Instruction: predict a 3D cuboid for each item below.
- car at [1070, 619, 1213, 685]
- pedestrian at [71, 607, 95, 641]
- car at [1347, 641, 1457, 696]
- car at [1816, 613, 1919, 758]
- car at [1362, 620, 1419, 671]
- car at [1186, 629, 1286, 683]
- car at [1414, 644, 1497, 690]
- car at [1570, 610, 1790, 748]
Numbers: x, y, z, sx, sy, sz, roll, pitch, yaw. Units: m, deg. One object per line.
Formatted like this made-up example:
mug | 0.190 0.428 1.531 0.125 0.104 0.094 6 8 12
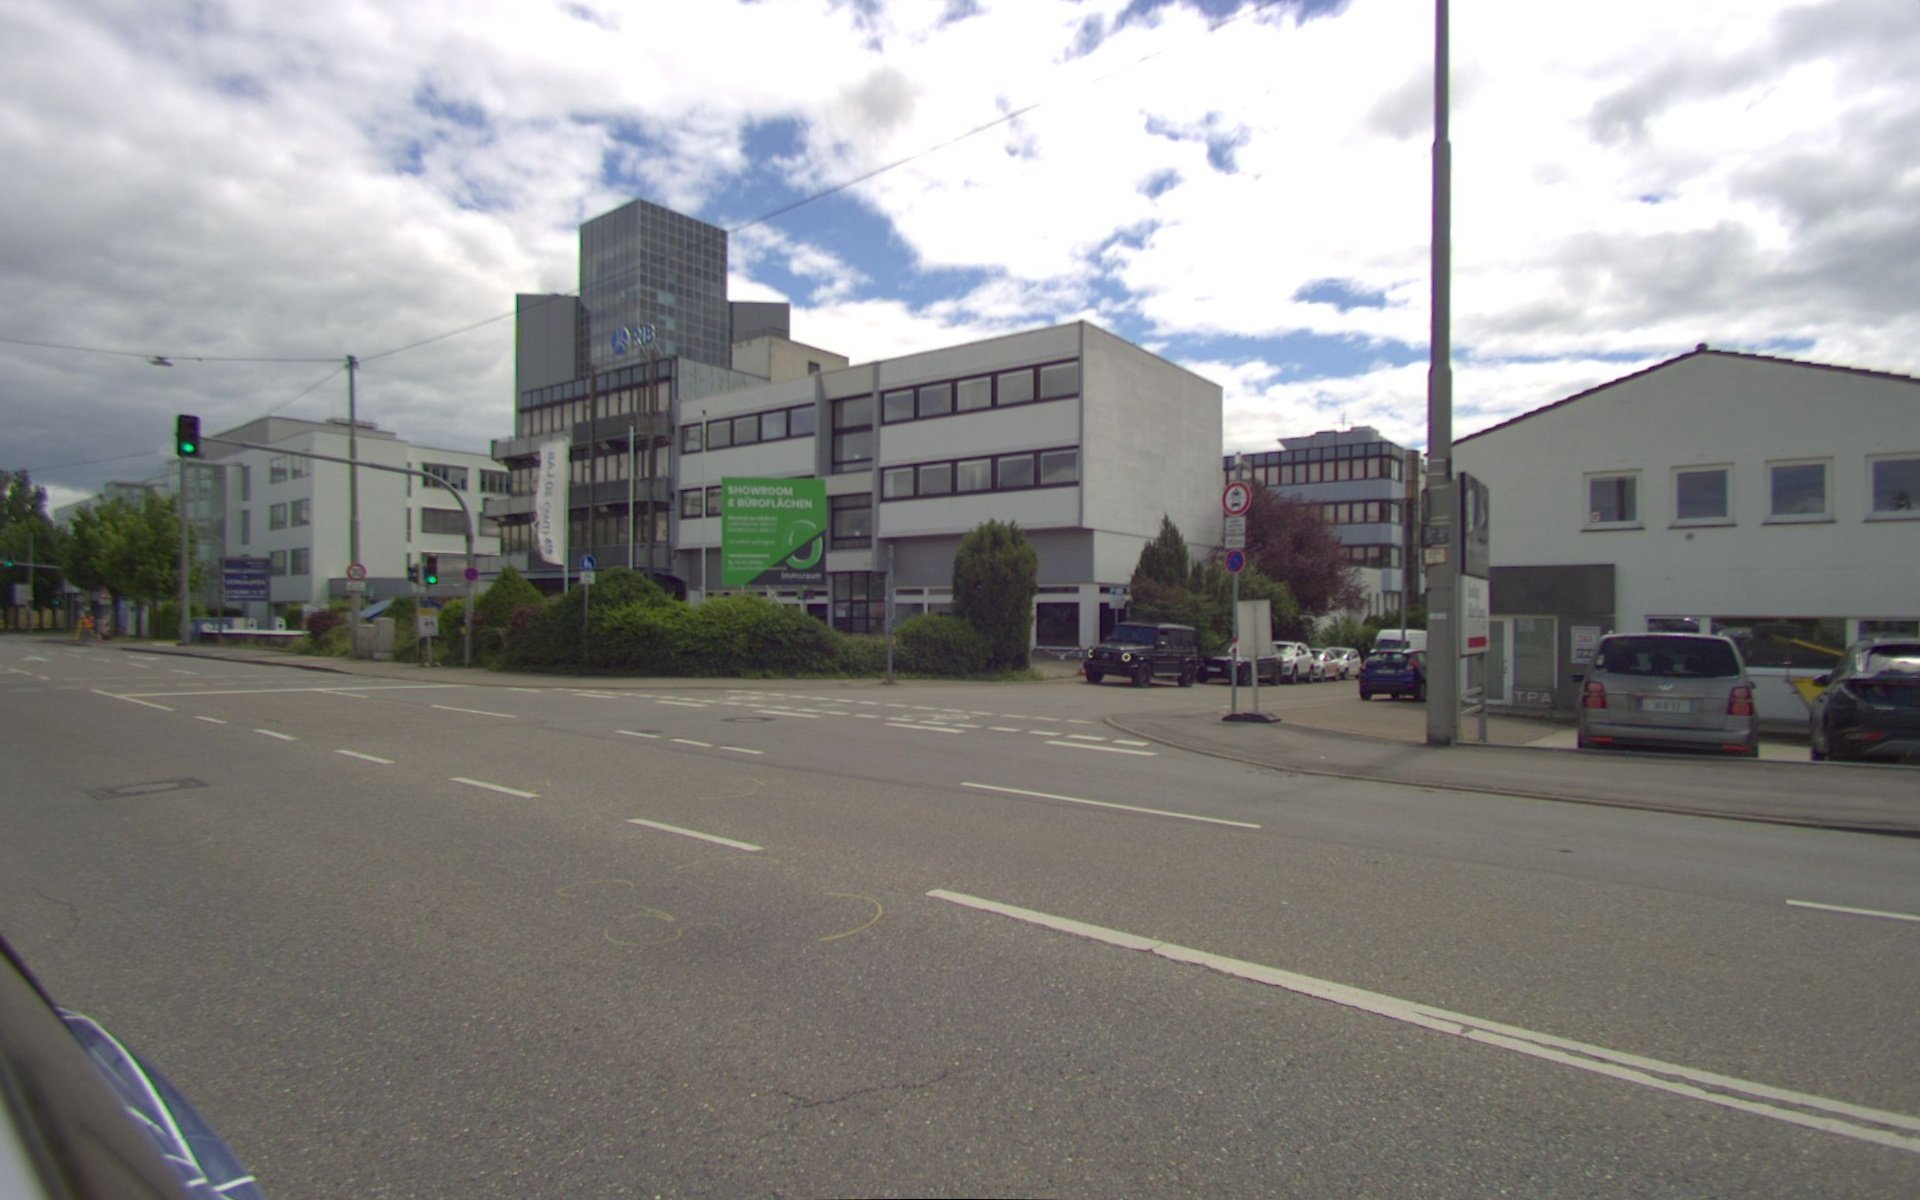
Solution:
car | 5.750 1.639 31.675 2.170 1.806 4.703 3 -2 42
pedestrian | -53.859 1.470 62.156 0.715 2.029 0.812 -1 1 -7
car | 12.658 1.942 28.870 1.809 1.431 3.886 -3 -5 40
car | 10.989 1.071 11.441 1.853 1.435 3.949 0 -6 38
car | 25.207 2.582 59.160 2.101 2.627 4.358 0 2 37
car | 10.025 2.042 36.600 1.999 1.719 3.946 0 -4 40
car | 16.682 2.233 33.970 1.807 1.431 3.890 -2 -4 36
car | 8.781 1.044 12.590 1.902 1.409 4.059 -1 -7 33
